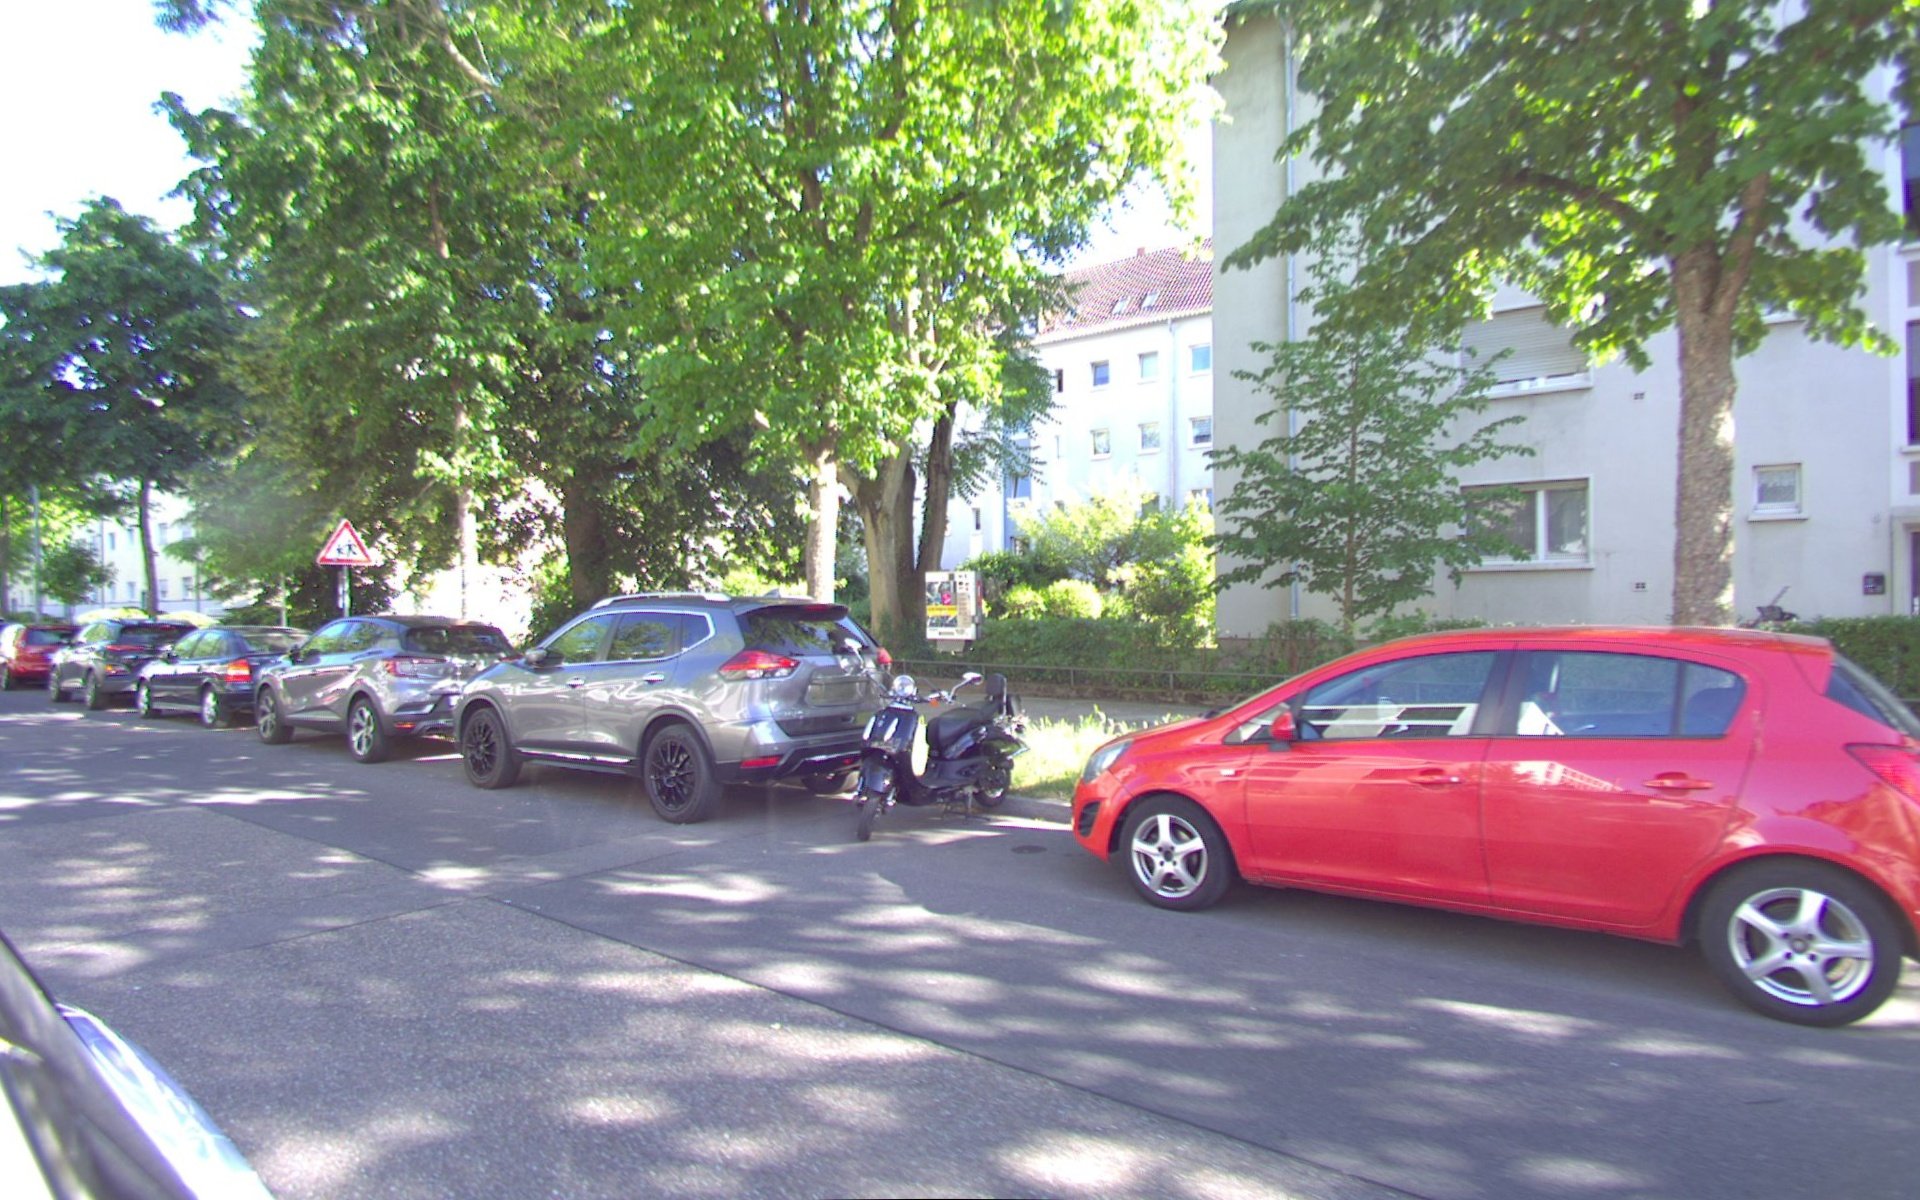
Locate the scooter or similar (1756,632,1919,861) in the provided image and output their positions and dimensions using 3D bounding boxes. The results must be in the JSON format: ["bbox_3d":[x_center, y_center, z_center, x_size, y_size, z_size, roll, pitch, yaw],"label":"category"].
[{"bbox_3d":[5.547,0.824,5.747,0.547,1.244,1.519,0,-1,-24],"label":"scooter or similar"}]

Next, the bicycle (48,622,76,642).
[{"bbox_3d":[-42.277,1.481,47.622,1.899,0.923,0.589,-1,-1,36],"label":"bicycle"}]

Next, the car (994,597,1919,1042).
[{"bbox_3d":[2.403,0.759,5.144,4.175,1.481,1.839,-1,-1,37],"label":"car"}]

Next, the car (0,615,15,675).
[{"bbox_3d":[-28.772,1.264,28.847,5.078,1.669,1.825,-1,-1,37],"label":"car"}]

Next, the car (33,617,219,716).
[{"bbox_3d":[-15.256,1.116,18.428,4.475,1.589,1.690,-1,-1,38],"label":"car"}]

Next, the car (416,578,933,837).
[{"bbox_3d":[-2.663,0.750,8.804,4.804,1.701,1.752,-1,-1,36],"label":"car"}]

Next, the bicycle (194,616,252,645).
[{"bbox_3d":[-33.028,1.354,45.378,0.775,1.235,1.936,-1,0,34],"label":"bicycle"}]

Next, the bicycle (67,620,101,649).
[{"bbox_3d":[-37.716,1.478,43.570,2.256,1.199,0.589,-1,-1,36],"label":"bicycle"}]

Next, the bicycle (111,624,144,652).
[{"bbox_3d":[-32.476,1.471,39.478,1.930,1.069,0.567,-1,0,38],"label":"bicycle"}]

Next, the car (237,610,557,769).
[{"bbox_3d":[-6.789,0.916,12.013,4.413,1.543,1.752,-1,-1,38],"label":"car"}]

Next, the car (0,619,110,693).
[{"bbox_3d":[-20.882,1.204,22.847,4.060,1.516,1.639,-1,-1,36],"label":"car"}]

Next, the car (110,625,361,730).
[{"bbox_3d":[-11.061,1.065,15.348,4.472,1.363,1.769,-1,-1,36],"label":"car"}]

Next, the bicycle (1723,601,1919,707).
[{"bbox_3d":[10.487,0.628,12.293,1.910,1.210,0.679,-1,-1,39],"label":"bicycle"}]

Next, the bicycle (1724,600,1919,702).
[{"bbox_3d":[10.920,0.617,12.845,1.910,1.210,0.679,-1,-1,39],"label":"bicycle"}]

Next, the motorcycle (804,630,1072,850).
[{"bbox_3d":[-0.107,0.903,7.291,0.787,1.342,1.931,-1,-1,45],"label":"motorcycle"}]

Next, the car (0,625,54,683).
[{"bbox_3d":[-24.606,1.319,25.615,4.180,1.384,1.639,-1,-1,36],"label":"car"}]

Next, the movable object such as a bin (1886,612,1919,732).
[{"bbox_3d":[9.030,0.648,9.249,0.759,1.076,0.687,-1,-1,38],"label":"movable object such as a bin"}]

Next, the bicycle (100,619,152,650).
[{"bbox_3d":[-34.888,1.422,42.349,0.514,1.235,1.625,-1,0,27],"label":"bicycle"}]
